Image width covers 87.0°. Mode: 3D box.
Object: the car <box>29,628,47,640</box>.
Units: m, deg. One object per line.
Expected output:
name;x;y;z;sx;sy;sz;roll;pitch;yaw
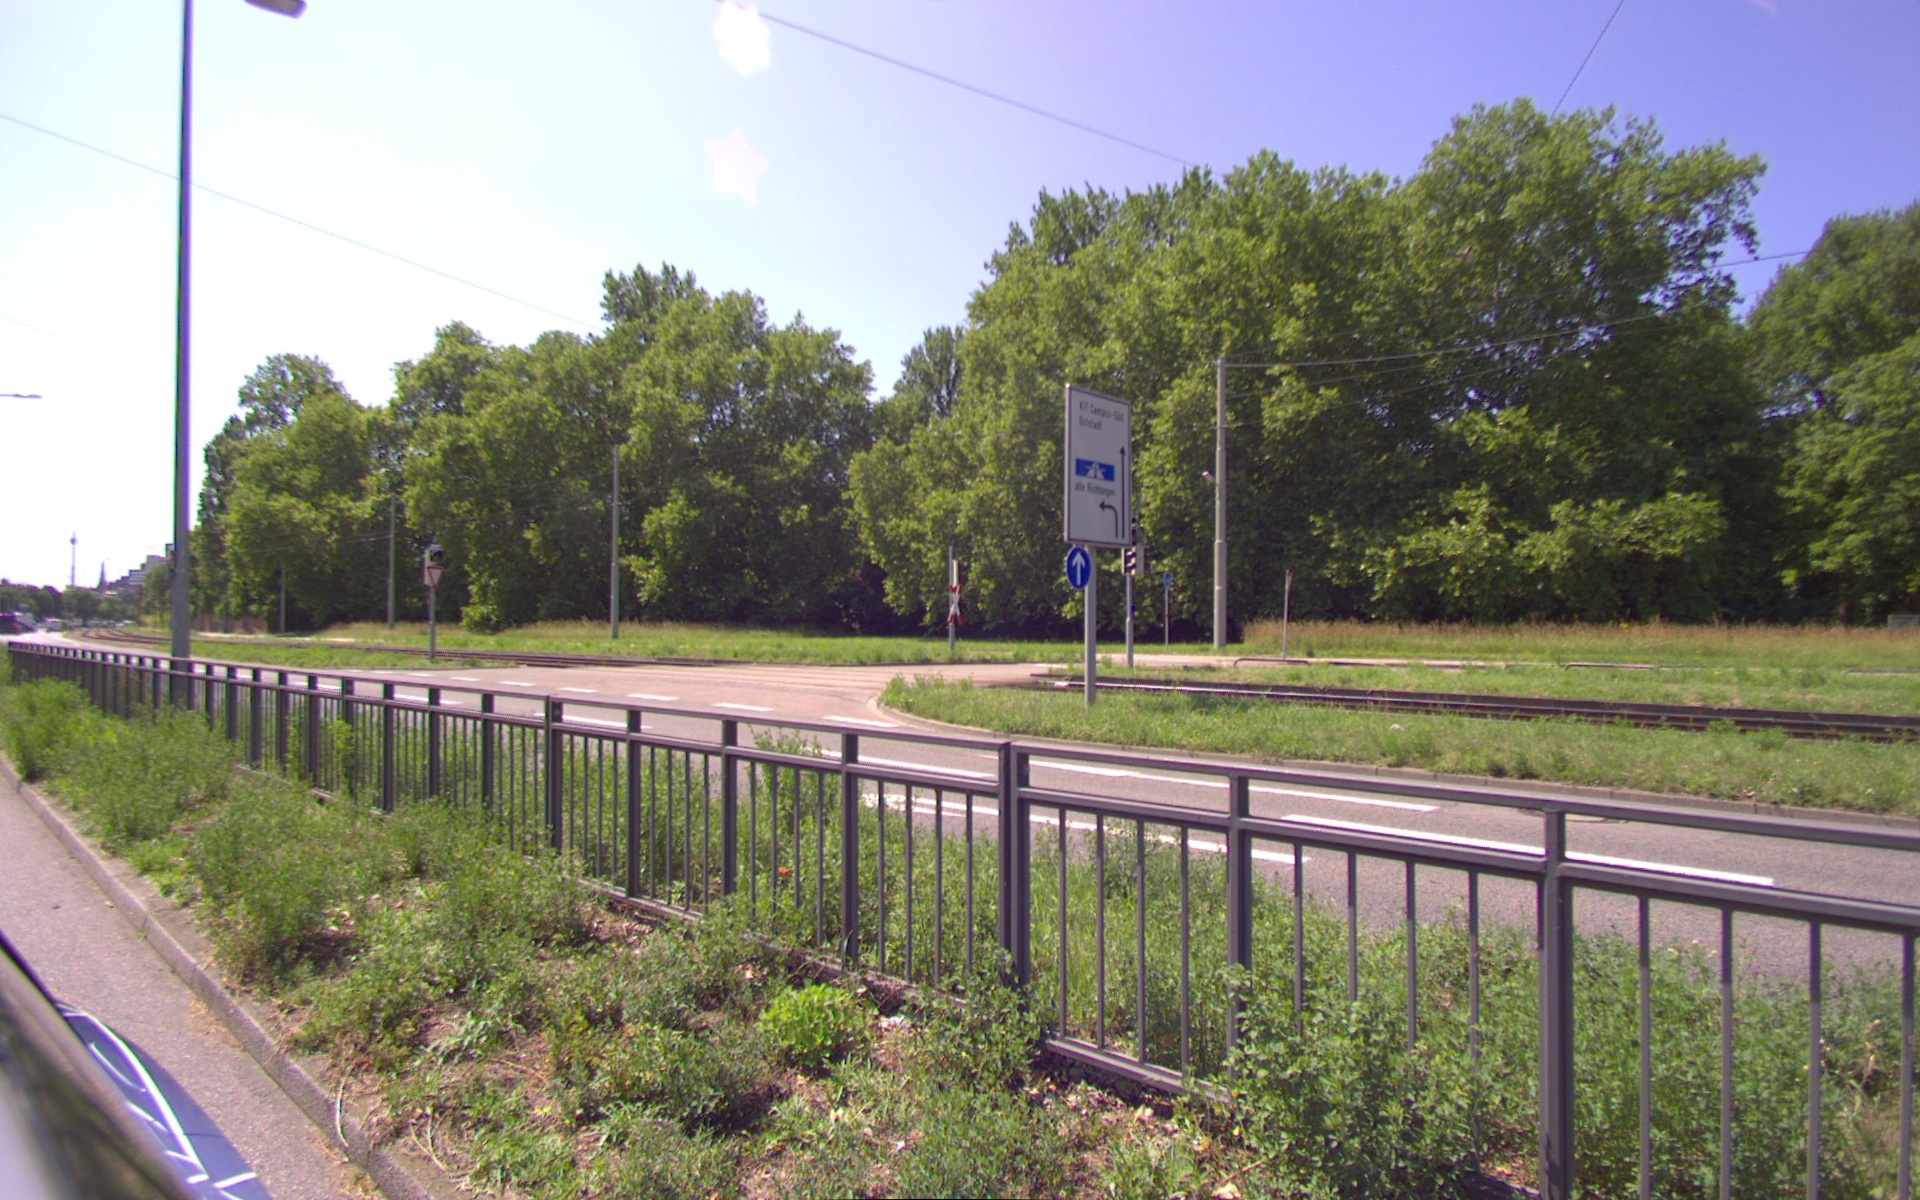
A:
car;-143.774;5.301;157.810;1.970;1.871;4.003;1;-2;-44

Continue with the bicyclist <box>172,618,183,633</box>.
bicyclist;-95.655;3.073;123.781;1.117;1.820;0.851;-1;-2;41

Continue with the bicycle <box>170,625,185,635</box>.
bicycle;-95.709;3.637;123.784;2.785;1.171;0.851;-1;-2;41

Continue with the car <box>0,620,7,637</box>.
car;-107.848;3.140;113.090;1.970;1.871;4.004;1;-2;-43

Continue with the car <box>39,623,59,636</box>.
car;-136.659;4.411;151.816;1.970;1.871;4.003;1;-2;-44
